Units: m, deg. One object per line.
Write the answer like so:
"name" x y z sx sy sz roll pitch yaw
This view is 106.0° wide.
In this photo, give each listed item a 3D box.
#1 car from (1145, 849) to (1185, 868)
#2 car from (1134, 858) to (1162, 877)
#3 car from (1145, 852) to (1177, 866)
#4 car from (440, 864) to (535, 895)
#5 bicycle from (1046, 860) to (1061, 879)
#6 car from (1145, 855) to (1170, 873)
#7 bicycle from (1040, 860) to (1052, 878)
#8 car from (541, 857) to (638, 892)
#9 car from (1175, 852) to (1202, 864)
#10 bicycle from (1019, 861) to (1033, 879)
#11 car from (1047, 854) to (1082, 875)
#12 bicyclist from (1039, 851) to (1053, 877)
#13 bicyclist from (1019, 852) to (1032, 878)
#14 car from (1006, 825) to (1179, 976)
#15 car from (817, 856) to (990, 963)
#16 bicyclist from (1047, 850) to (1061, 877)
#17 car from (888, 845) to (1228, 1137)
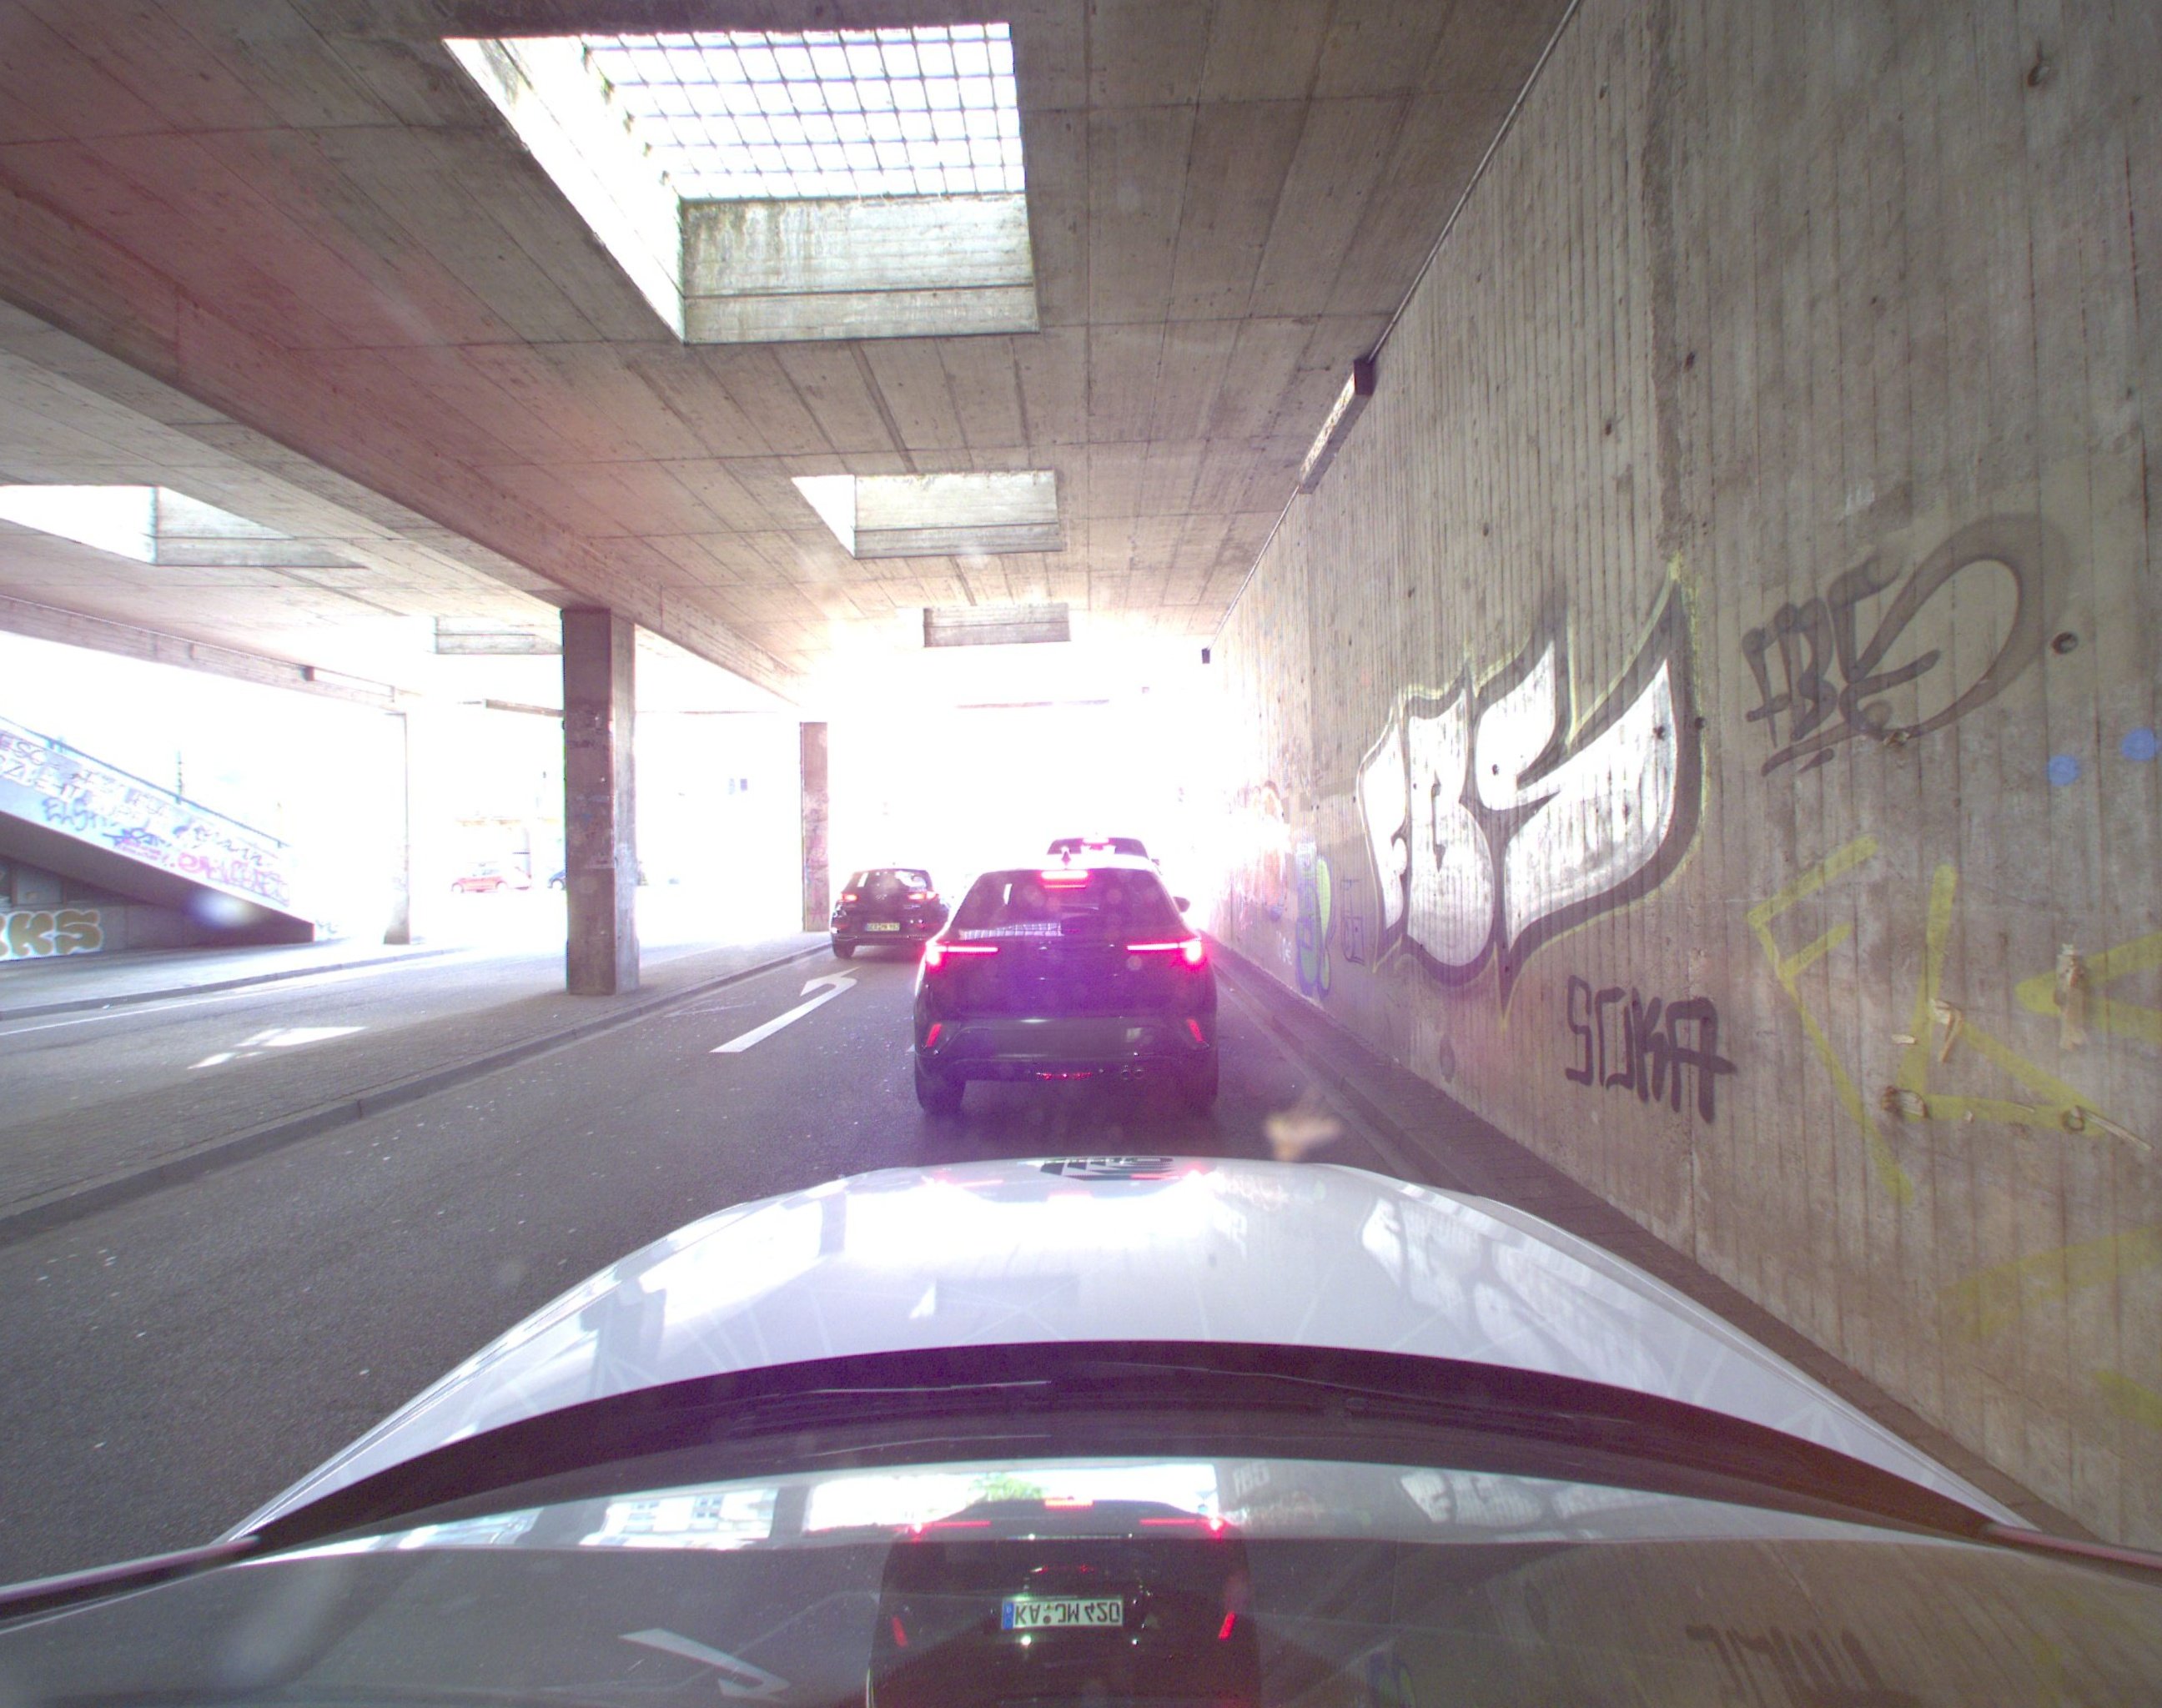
"car" 11.950 0.597 116.012 5.267 2.545 1.976 -2 -1 -14
"car" 5.612 1.110 68.308 1.695 1.452 3.865 -1 0 14
"car" 13.198 0.875 134.097 4.905 2.083 1.970 -2 -1 -23
"car" -32.936 1.390 45.270 3.863 1.540 1.900 -1 1 2
"bicycle" -1.726 0.978 51.881 0.695 1.090 1.863 -1 2 5
"car" 7.079 0.884 75.038 1.693 1.512 3.877 -3 -1 13
"bicycle" -2.348 0.994 54.452 0.539 1.123 2.060 -1 0 3
"car" -27.266 1.126 45.259 4.144 1.724 1.964 -1 1 2
"car" 21.143 0.821 160.835 4.888 2.083 1.977 -2 -1 -12
"bicycle" -3.498 1.014 51.634 0.523 1.090 1.864 -1 0 7
"car" -1.178 0.729 59.749 1.645 1.441 3.478 -1 0 16
"bicyclist" -2.348 0.657 54.543 0.779 1.660 1.032 -1 0 3
"bicyclist" -3.535 0.683 51.583 0.602 1.632 0.911 -1 0 7
"car" 0.126 0.581 12.644 2.126 1.835 4.939 -1 0 -1
"car" -2.767 0.799 13.737 1.794 1.451 4.328 -2 0 2
"bicyclist" -1.739 0.593 51.869 0.742 1.711 0.968 -1 1 4
"car" -0.065 0.724 6.169 1.775 1.517 3.757 -1 0 2
